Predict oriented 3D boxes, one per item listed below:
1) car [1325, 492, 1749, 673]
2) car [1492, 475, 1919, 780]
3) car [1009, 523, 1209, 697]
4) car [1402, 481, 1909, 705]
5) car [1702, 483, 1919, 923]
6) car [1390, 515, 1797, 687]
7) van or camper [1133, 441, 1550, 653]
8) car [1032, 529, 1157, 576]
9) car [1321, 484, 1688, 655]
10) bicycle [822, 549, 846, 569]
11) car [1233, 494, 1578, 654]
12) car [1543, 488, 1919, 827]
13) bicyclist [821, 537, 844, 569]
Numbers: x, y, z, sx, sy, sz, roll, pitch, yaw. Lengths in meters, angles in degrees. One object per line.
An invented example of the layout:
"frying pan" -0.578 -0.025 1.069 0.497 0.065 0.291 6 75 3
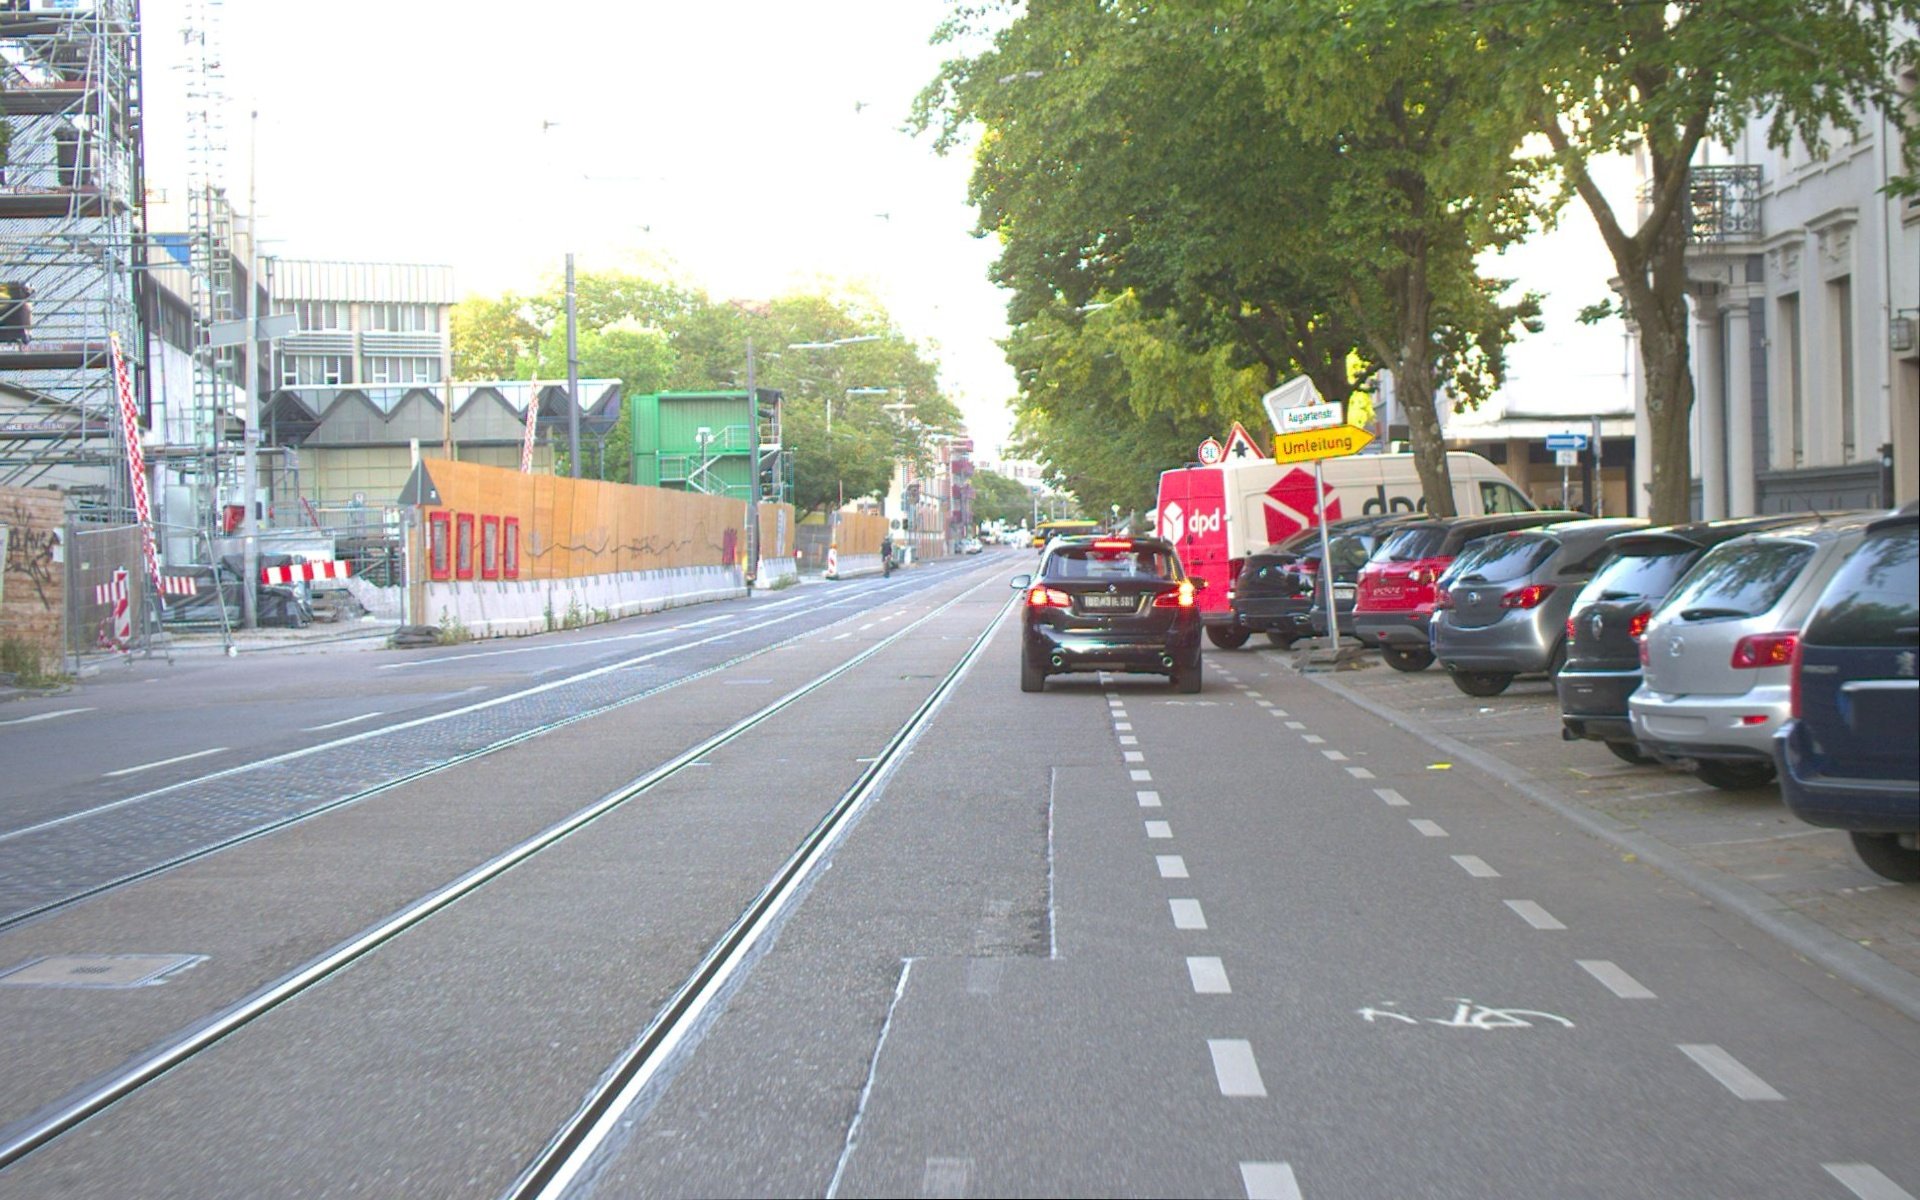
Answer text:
"car" 6.047 -0.190 36.028 3.941 1.598 1.841 -4 1 -24
"car" 5.357 0.085 20.496 3.942 1.598 1.840 -4 1 -30
"car" 1.470 0.059 34.869 1.882 1.614 4.000 1 1 1
"car" 6.000 -0.072 29.584 3.942 1.598 1.840 -5 1 -30
"car" 5.123 0.240 13.644 3.942 1.598 1.840 -5 1 -30
"car" 6.125 0.002 33.139 3.640 1.440 1.659 -3 0 -33
"van or camper" 5.351 -0.755 47.882 5.532 2.522 2.086 -5 1 -32
"car" 4.362 -1.539 111.962 3.839 1.415 1.804 -2 1 -6
"car" 6.626 -0.371 41.862 3.941 1.759 1.841 -5 1 -24
"bicycle" -5.517 -1.806 150.461 0.948 0.846 2.697 -1 1 -1
"car" 5.767 -0.334 44.547 3.941 1.759 1.841 -5 1 -24
"car" 5.272 0.203 18.186 3.941 1.598 1.841 -3 1 -27
"bicyclist" -5.528 -2.051 149.687 0.944 1.341 1.111 -1 1 -1
